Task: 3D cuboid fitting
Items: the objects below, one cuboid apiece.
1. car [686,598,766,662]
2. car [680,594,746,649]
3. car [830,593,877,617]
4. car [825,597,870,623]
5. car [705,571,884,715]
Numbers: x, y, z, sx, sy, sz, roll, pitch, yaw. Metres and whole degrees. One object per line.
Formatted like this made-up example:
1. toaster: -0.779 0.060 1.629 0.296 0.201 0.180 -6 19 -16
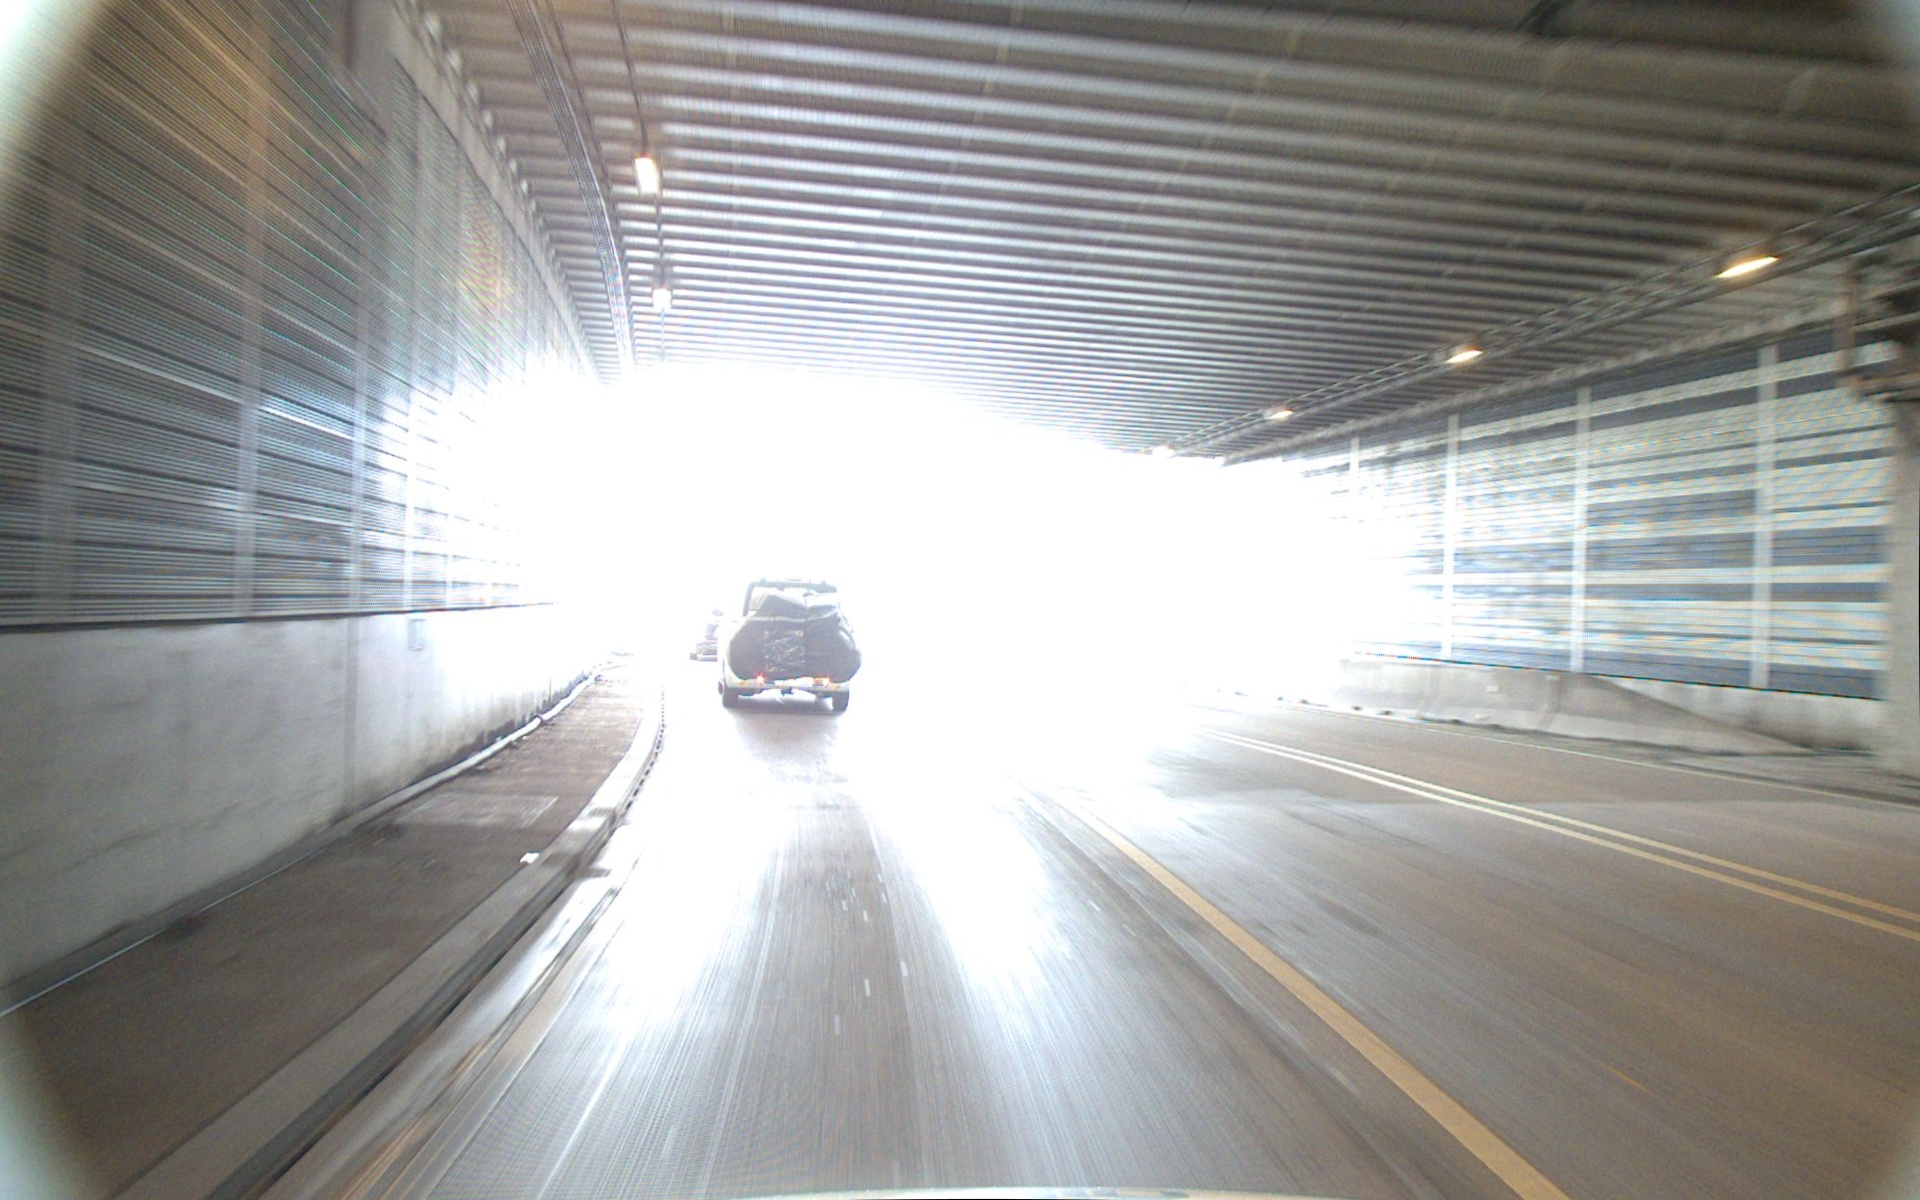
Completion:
1. car: -5.836 0.710 40.868 1.782 1.459 4.055 1 0 -10
2. car: -7.737 0.647 52.065 1.884 1.514 4.059 2 1 -7
3. car: -6.913 0.351 107.757 1.951 1.495 4.003 1 0 14
4. car: -7.180 0.602 106.307 1.969 1.514 4.069 3 1 9
5. car: -2.604 0.561 24.704 1.959 1.891 5.622 0 0 -13
